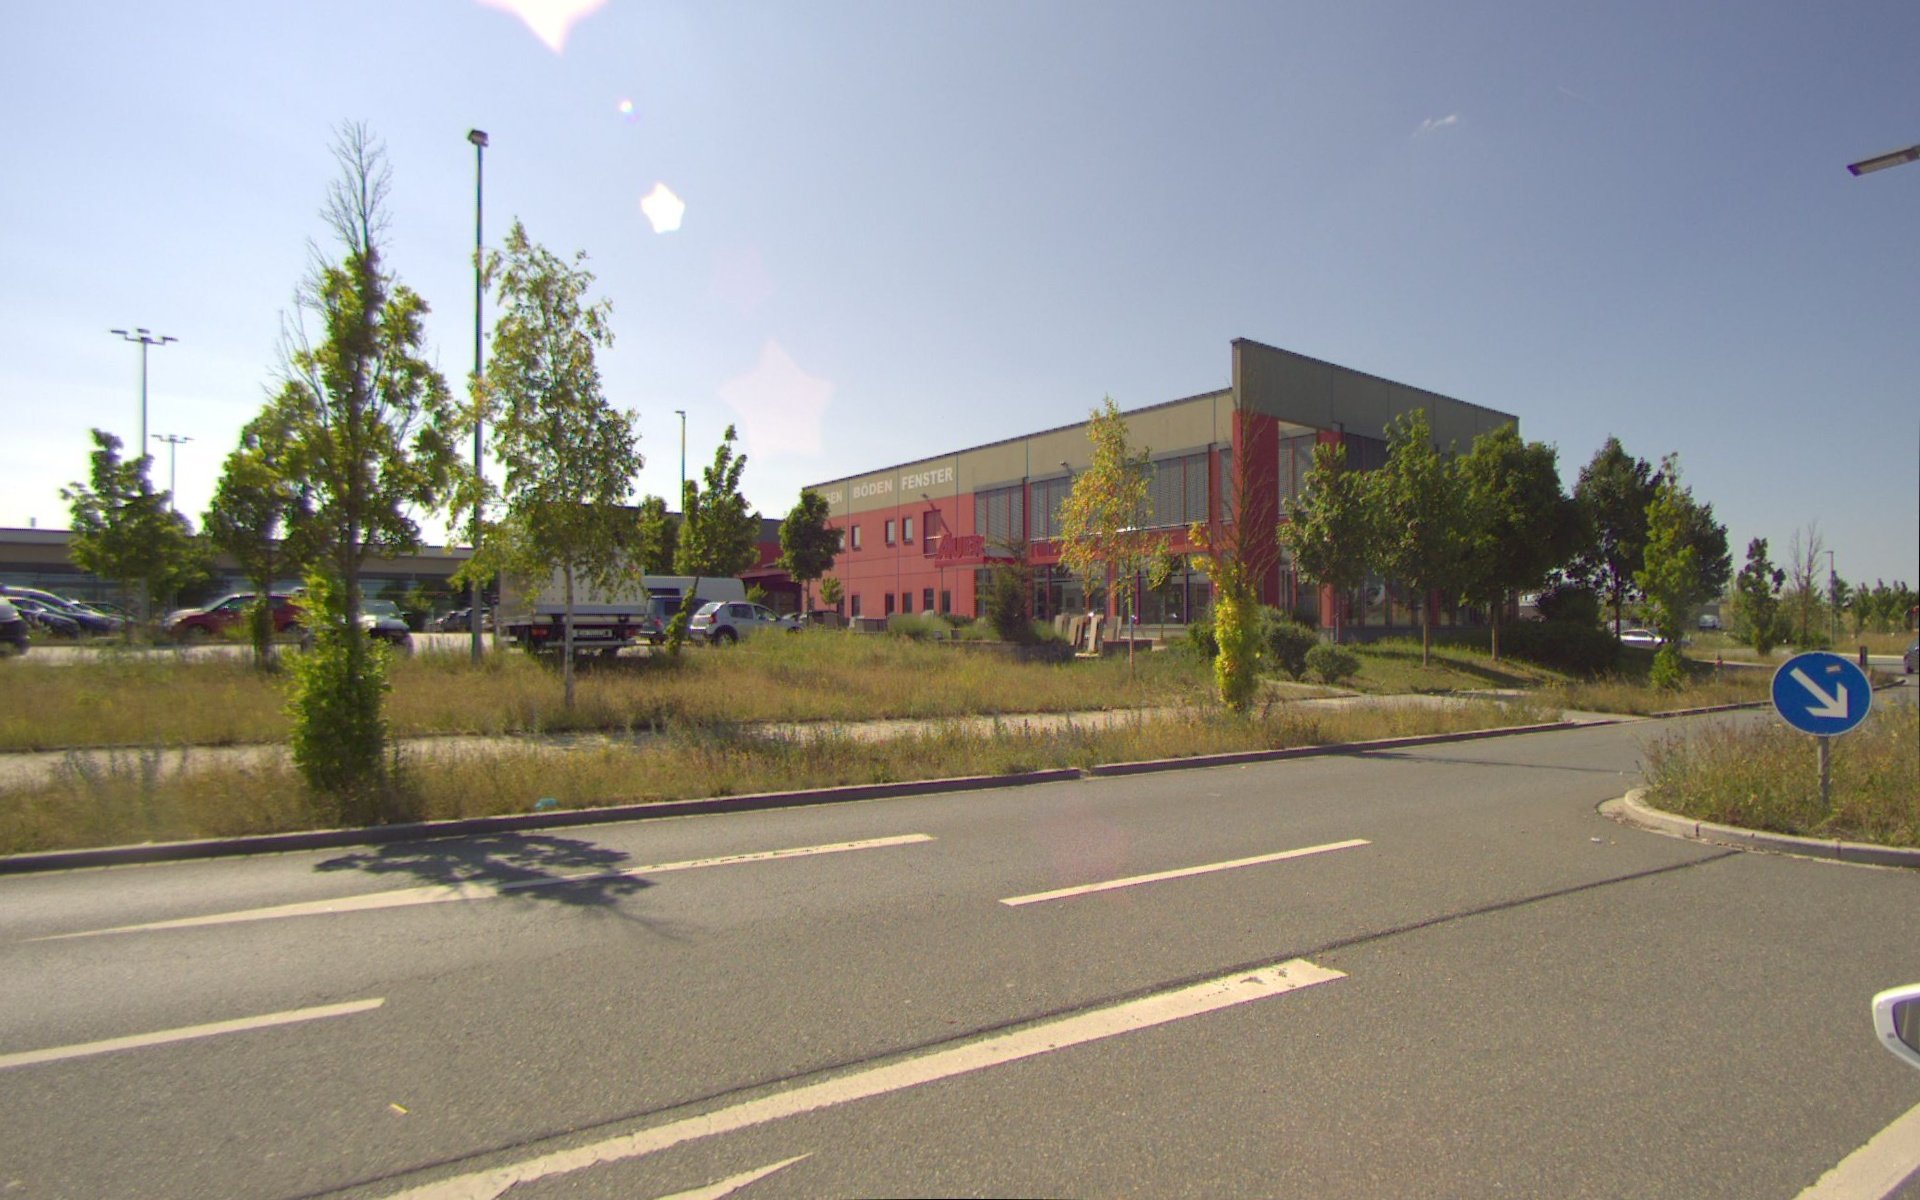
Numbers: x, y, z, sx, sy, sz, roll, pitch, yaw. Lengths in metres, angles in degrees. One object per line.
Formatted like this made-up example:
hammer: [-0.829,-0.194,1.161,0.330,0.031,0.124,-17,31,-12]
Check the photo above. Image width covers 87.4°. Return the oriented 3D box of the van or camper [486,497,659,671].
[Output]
van or camper: [-9.573,-0.229,24.238,2.527,3.514,7.652,1,-2,-31]

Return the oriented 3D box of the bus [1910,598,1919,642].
bus: [72.900,1.236,70.098,11.980,3.120,2.792,-1,-1,-9]

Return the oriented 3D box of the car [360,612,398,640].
car: [-41.006,1.837,70.854,1.980,1.849,3.961,2,-2,-35]

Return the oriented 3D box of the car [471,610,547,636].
car: [-28.002,1.450,62.383,4.049,1.579,1.648,2,-2,-39]

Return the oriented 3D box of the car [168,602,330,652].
car: [-23.911,0.914,33.855,4.345,1.583,1.817,2,-2,-39]

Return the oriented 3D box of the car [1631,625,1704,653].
car: [45.481,2.494,64.680,1.924,1.648,4.627,-1,0,7]

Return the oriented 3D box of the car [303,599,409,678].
car: [-13.415,0.822,22.271,1.818,1.572,4.343,2,-2,-32]

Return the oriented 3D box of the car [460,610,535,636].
car: [-29.512,1.475,64.114,4.049,1.560,1.648,2,-2,-39]

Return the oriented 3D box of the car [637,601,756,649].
car: [-9.920,0.960,37.977,4.050,1.693,1.647,2,-2,-40]

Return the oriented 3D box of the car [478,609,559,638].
car: [-25.681,1.391,58.476,4.049,1.598,1.648,2,-2,-39]

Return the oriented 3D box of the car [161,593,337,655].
car: [-22.034,0.779,31.236,4.345,1.796,1.817,2,-2,-39]

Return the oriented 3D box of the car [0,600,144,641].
car: [-37.452,0.889,42.532,4.340,1.613,1.819,2,-2,-36]

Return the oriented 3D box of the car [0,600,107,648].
car: [-31.780,0.807,33.989,4.345,1.583,1.817,2,-2,-39]

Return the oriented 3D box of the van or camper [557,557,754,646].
van or camper: [-12.069,0.167,40.230,7.171,3.314,2.411,2,-2,-38]

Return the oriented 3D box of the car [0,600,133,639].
car: [-39.370,0.880,44.300,4.340,1.654,1.819,2,-2,-36]

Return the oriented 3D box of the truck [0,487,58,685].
truck: [-20.774,-0.301,17.659,7.350,3.510,2.323,1,-1,-4]

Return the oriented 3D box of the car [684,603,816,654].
car: [-7.015,0.971,33.775,4.050,1.636,1.647,2,-2,-40]

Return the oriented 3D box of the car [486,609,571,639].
car: [-23.706,1.347,55.246,4.049,1.607,1.648,2,-2,-39]

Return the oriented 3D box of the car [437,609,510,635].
car: [-31.984,1.453,66.063,4.049,1.617,1.648,2,-2,-39]

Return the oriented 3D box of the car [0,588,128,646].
car: [-33.093,0.621,36.423,4.340,2.021,1.819,2,-2,-36]
